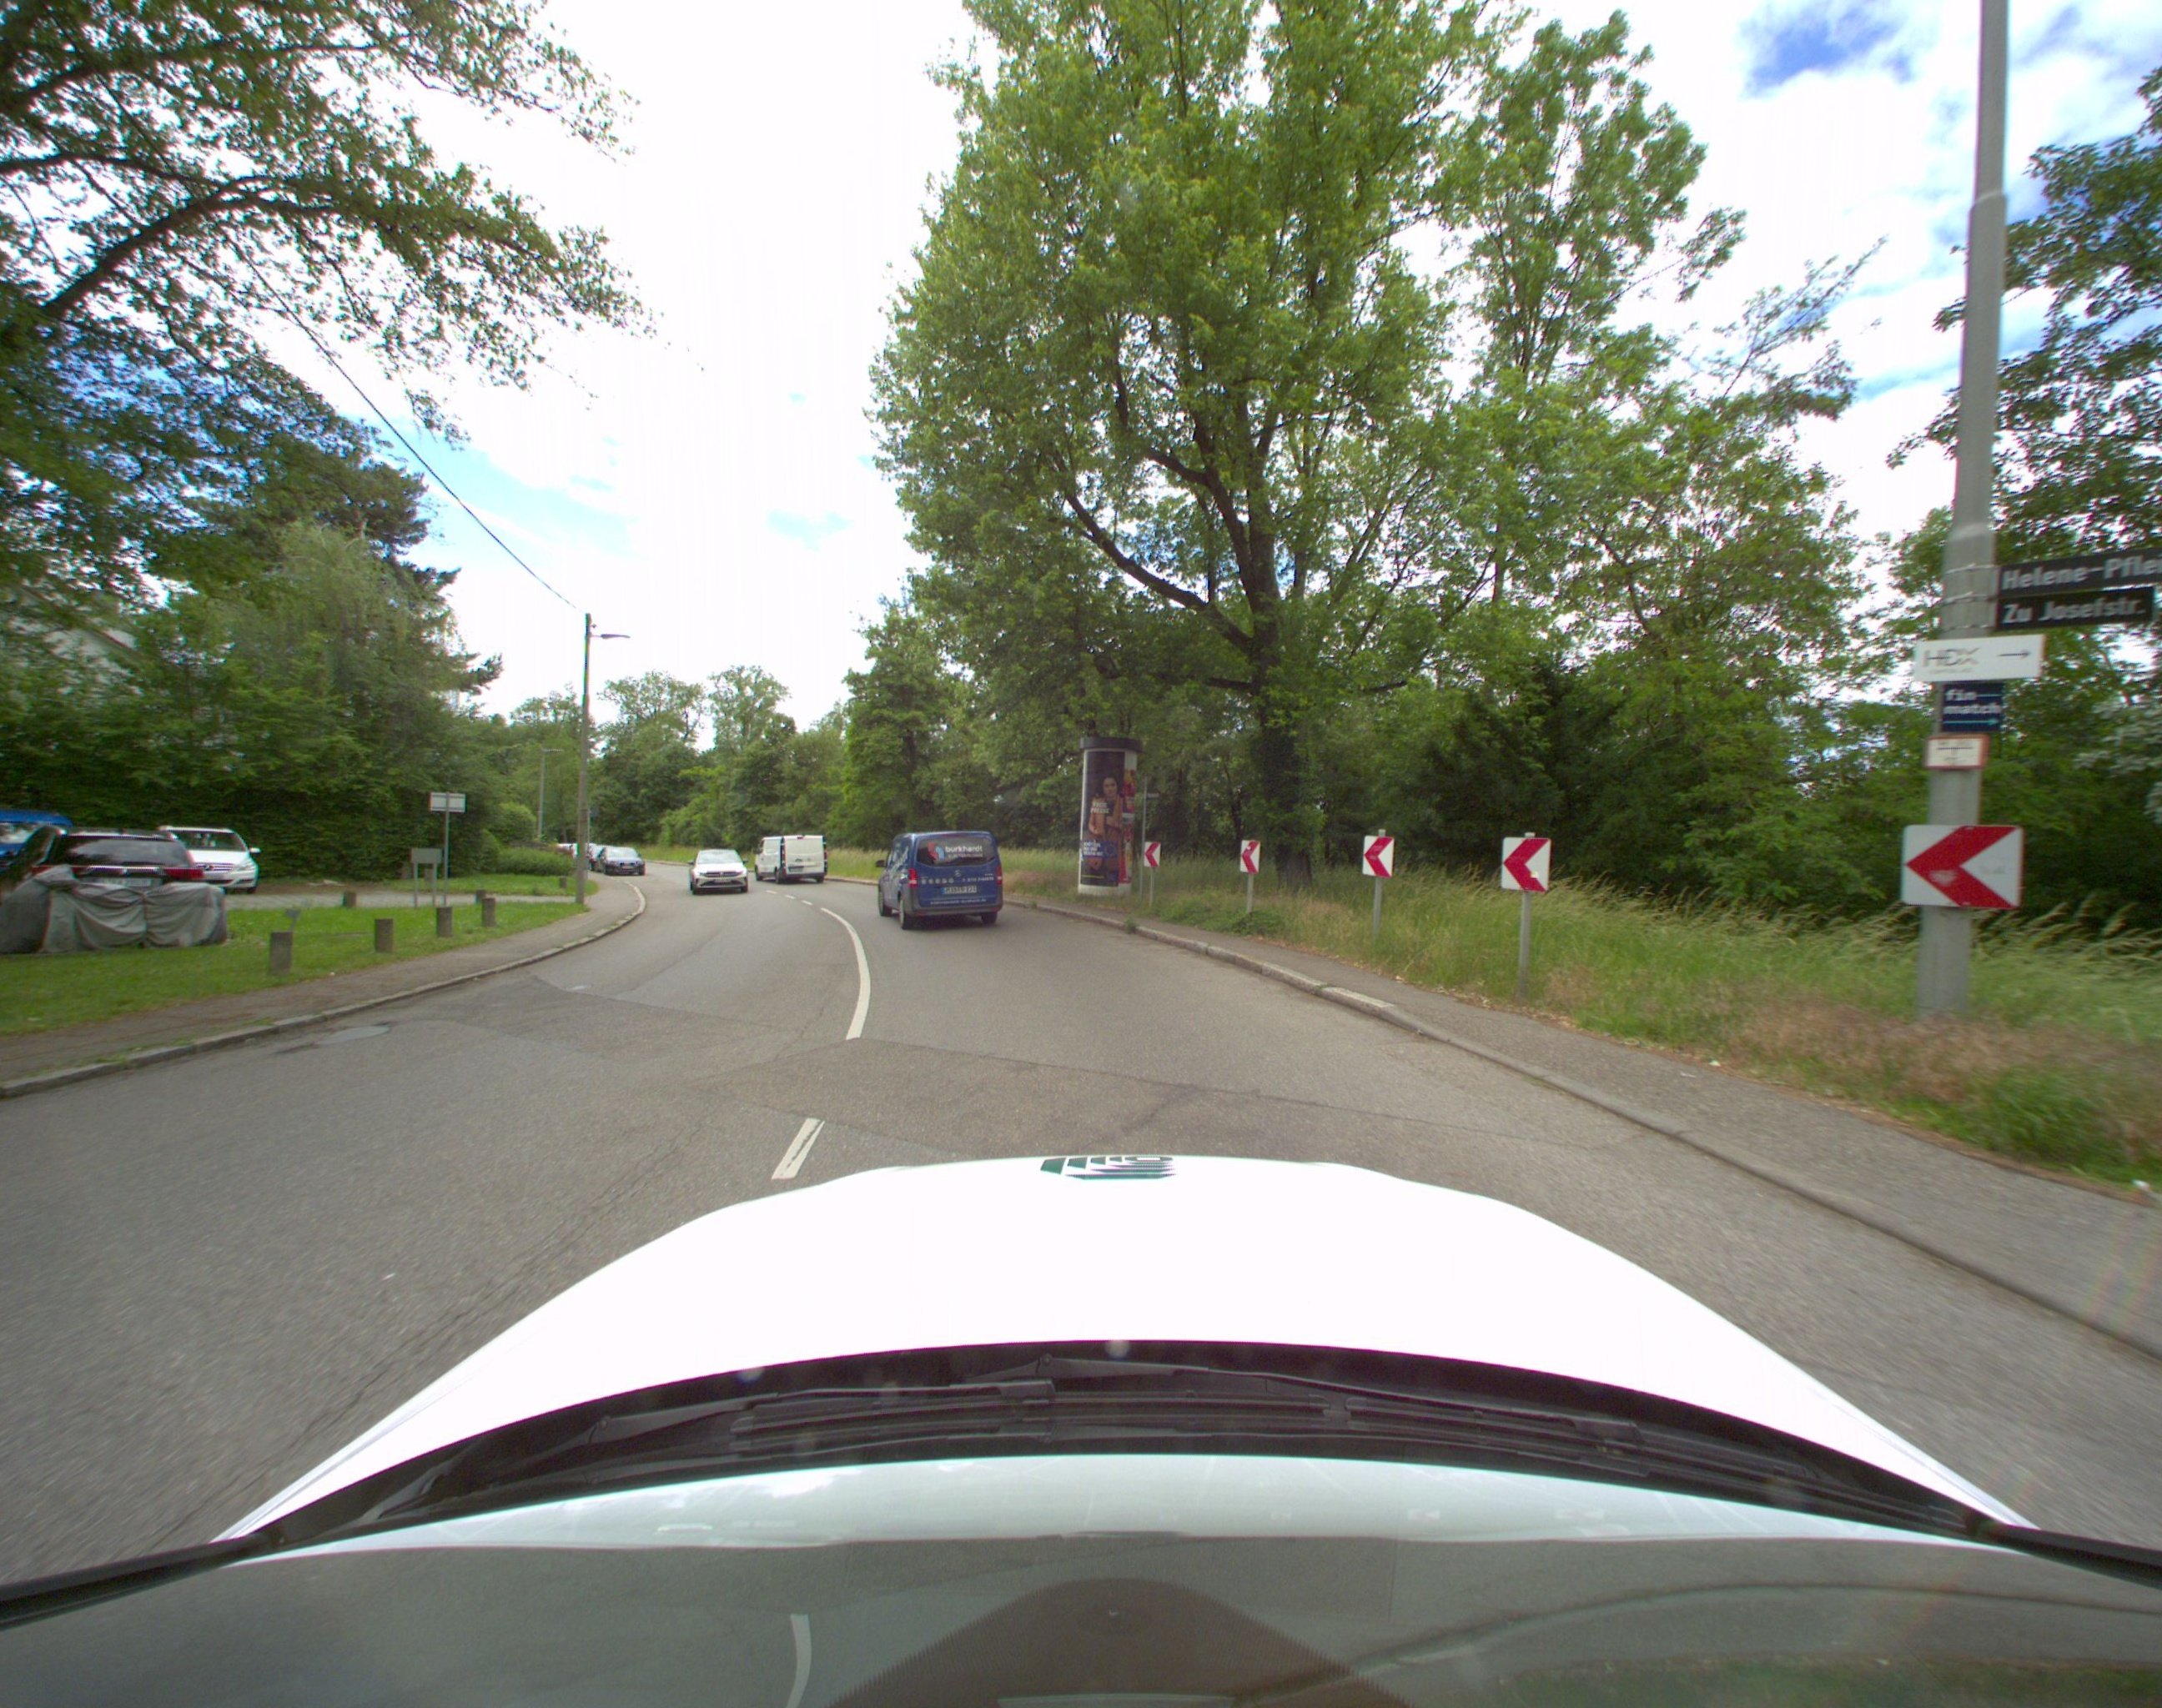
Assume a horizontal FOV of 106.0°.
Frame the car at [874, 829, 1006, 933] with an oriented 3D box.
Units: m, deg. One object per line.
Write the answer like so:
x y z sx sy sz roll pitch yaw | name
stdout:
-3.097 0.467 17.166 1.920 1.837 4.264 -2 1 -21 | car

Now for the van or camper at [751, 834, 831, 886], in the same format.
-12.228 0.189 34.147 2.034 1.956 4.846 0 2 -34 | van or camper

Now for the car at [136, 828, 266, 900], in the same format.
-22.102 0.196 20.416 4.217 1.594 1.758 2 0 37 | car

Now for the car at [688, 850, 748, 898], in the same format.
-12.869 0.640 28.819 1.733 1.457 4.045 -3 2 -25 | car

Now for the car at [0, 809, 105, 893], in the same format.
-23.843 -0.130 18.285 4.210 1.732 1.758 3 1 30 | car

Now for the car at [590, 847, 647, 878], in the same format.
-23.474 0.376 41.264 1.749 1.418 4.452 -1 1 -39 | car

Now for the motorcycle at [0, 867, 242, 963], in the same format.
-13.080 0.767 11.156 0.854 1.151 2.080 1 0 35 | motorcycle

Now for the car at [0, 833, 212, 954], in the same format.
-15.511 0.510 12.888 4.277 1.594 1.758 2 0 35 | car
